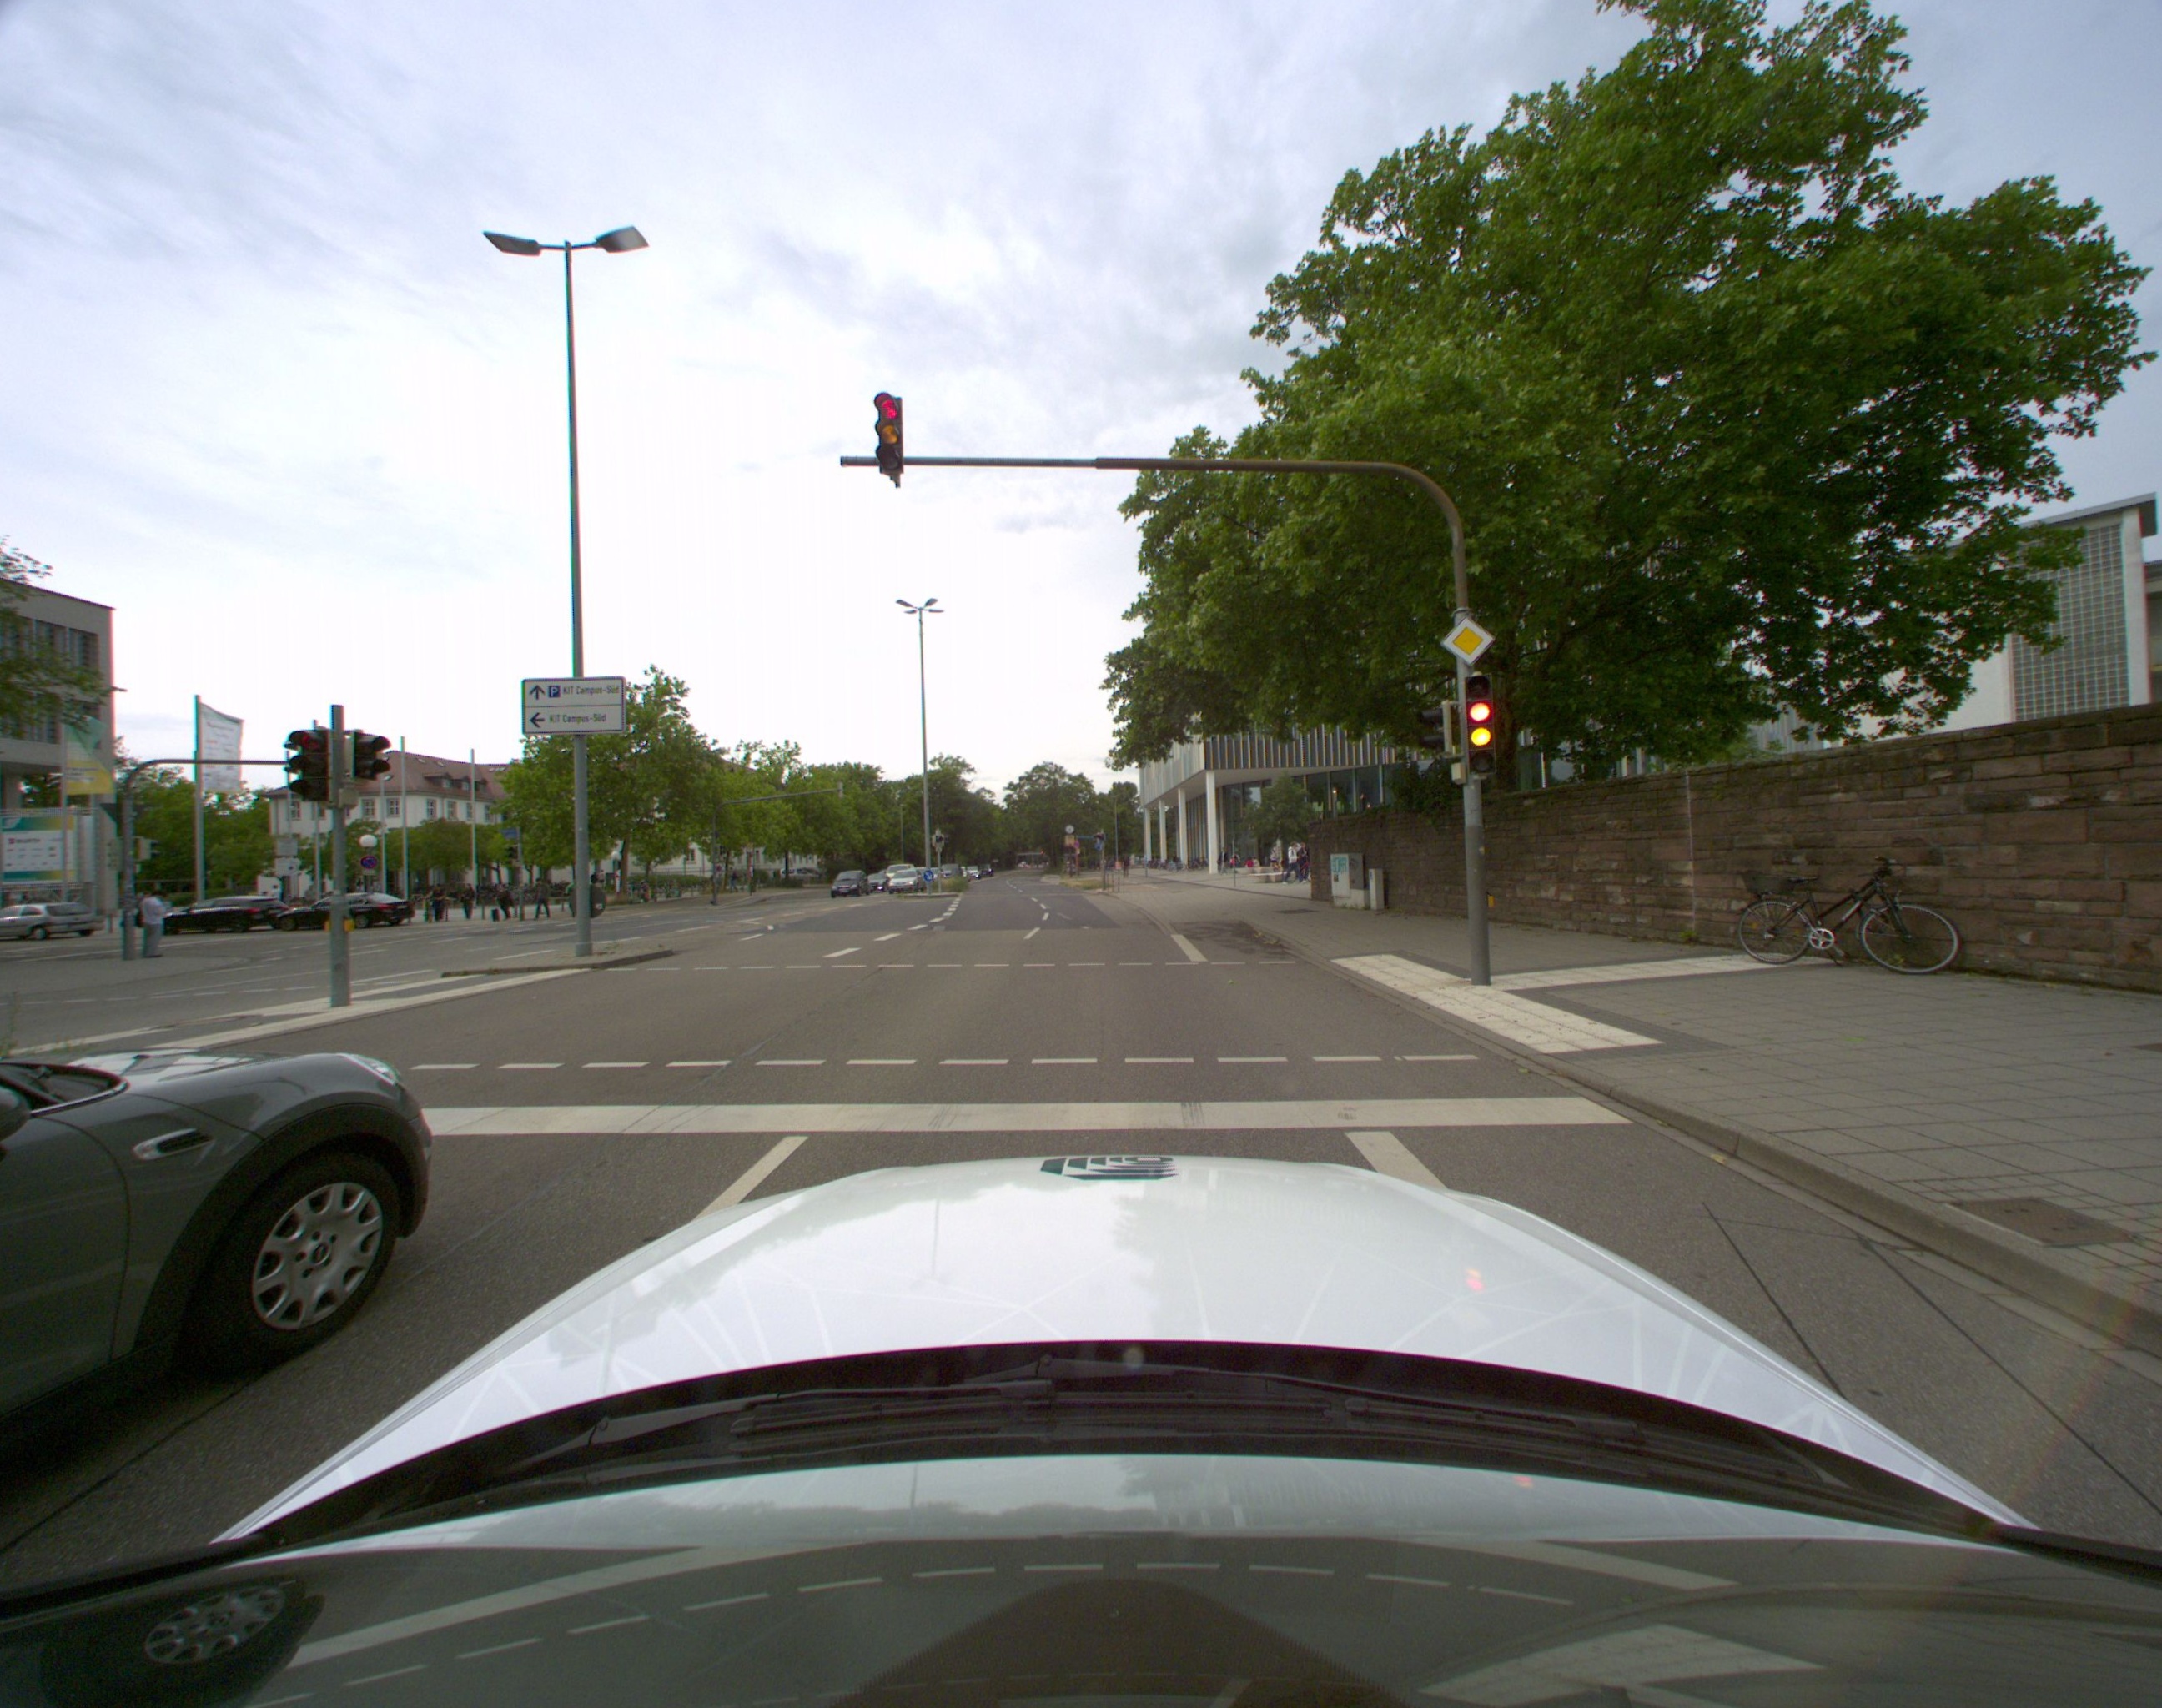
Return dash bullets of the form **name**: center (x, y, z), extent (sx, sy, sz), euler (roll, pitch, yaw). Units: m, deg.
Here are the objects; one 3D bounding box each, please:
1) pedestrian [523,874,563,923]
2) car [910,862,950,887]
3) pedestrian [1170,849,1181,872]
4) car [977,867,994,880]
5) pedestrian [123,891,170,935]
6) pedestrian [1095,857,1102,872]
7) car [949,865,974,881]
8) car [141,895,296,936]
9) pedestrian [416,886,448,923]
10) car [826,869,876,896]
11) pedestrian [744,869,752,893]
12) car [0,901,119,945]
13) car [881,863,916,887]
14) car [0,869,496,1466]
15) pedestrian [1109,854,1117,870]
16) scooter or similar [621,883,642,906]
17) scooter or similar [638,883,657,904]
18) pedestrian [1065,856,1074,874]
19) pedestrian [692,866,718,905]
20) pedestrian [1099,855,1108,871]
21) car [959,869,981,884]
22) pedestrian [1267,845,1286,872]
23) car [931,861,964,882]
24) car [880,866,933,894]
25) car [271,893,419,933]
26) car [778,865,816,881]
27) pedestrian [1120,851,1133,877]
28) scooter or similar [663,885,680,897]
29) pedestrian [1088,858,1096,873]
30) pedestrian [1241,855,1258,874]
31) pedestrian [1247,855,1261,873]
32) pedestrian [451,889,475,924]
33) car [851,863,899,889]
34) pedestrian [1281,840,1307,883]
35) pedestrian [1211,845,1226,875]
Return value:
- **pedestrian**: center (-22.742, 1.859, 34.430), extent (1.185, 2.014, 1.134), euler (0, -1, -22)
- **car**: center (-10.905, 1.454, 59.102), extent (1.951, 1.584, 4.256), euler (-4, 0, 1)
- **pedestrian**: center (8.459, 0.578, 72.982), extent (0.886, 2.014, 0.847), euler (-2, -1, 7)
- **car**: center (-12.723, 2.563, 108.641), extent (1.898, 1.593, 4.512), euler (-3, -1, -2)
- **pedestrian**: center (-44.546, 2.804, 38.830), extent (1.000, 2.014, 1.016), euler (-2, -1, -3)
- **pedestrian**: center (2.376, 1.507, 112.498), extent (0.823, 2.014, 0.718), euler (-2, -1, -7)
- **car**: center (-11.534, 1.769, 78.825), extent (1.899, 1.465, 4.906), euler (0, 0, -2)
- **car**: center (-35.146, 2.490, 33.303), extent (3.982, 1.472, 1.996), euler (0, -1, -6)
- **pedestrian**: center (-28.136, 2.181, 35.317), extent (0.825, 1.513, 0.968), euler (0, -1, -22)
- **car**: center (-13.937, 1.731, 49.629), extent (1.845, 1.463, 3.698), euler (-2, 0, 1)
- **pedestrian**: center (-24.214, 1.933, 59.254), extent (0.419, 1.739, 0.433), euler (0, -1, -9)
- **car**: center (-42.134, 2.774, 32.872), extent (3.979, 1.580, 1.997), euler (0, -1, -4)
- **car**: center (-14.541, 1.670, 65.107), extent (1.766, 1.848, 4.487), euler (0, -1, 0)
- **car**: center (-3.260, 0.742, 1.460), extent (1.615, 1.318, 3.707), euler (-2, 0, 2)
- **pedestrian**: center (4.075, 1.068, 103.957), extent (0.923, 2.014, 1.038), euler (-2, -1, -3)
- **scooter or similar**: center (-23.838, 2.152, 43.227), extent (0.359, 1.140, 1.318), euler (-3, -1, -2)
- **scooter or similar**: center (-23.865, 2.166, 44.848), extent (0.359, 1.140, 1.318), euler (-3, -1, -2)
- **pedestrian**: center (-1.344, 1.303, 94.971), extent (0.910, 2.013, 0.853), euler (-4, 1, -3)
- **pedestrian**: center (-20.029, 1.684, 43.393), extent (0.892, 2.014, 1.008), euler (-2, -1, -4)
- **pedestrian**: center (2.823, 1.102, 103.987), extent (0.924, 2.014, 1.037), euler (-2, -1, -7)
- **car**: center (-12.428, 2.522, 91.375), extent (1.989, 1.547, 4.176), euler (-4, -1, -2)
- **pedestrian**: center (13.477, 0.322, 56.170), extent (0.849, 1.836, 0.884), euler (-2, -1, -38)
- **car**: center (-11.716, 1.507, 71.781), extent (1.986, 1.687, 4.948), euler (-1, 0, 1)
- **car**: center (-10.795, 1.576, 50.632), extent (1.984, 1.529, 4.279), euler (-2, 0, 4)
- **car**: center (-30.367, 2.424, 33.714), extent (4.136, 1.472, 1.996), euler (0, -1, -6)
- **car**: center (-30.332, 2.000, 87.022), extent (3.579, 1.602, 1.649), euler (0, -1, -5)
- **pedestrian**: center (3.701, 0.830, 66.552), extent (0.840, 2.013, 0.894), euler (-4, -1, -1)
- **scooter or similar**: center (-25.473, 2.316, 50.687), extent (0.405, 0.693, 1.289), euler (0, -1, 1)
- **pedestrian**: center (1.472, 1.652, 112.807), extent (0.924, 2.014, 1.037), euler (-2, -1, -7)
- **pedestrian**: center (11.168, 0.677, 54.027), extent (0.834, 1.206, 0.900), euler (-3, -1, 32)
- **pedestrian**: center (11.595, 0.682, 54.644), extent (0.885, 1.193, 0.848), euler (-2, -1, 12)
- **pedestrian**: center (-26.935, 2.275, 35.514), extent (0.702, 1.428, 0.991), euler (0, -1, -30)
- **car**: center (-14.084, 1.486, 55.879), extent (1.984, 1.619, 4.005), euler (-2, 0, 4)
- **pedestrian**: center (9.186, 0.332, 35.119), extent (0.773, 1.795, 0.795), euler (-3, -1, 41)
- **pedestrian**: center (9.475, 0.431, 56.090), extent (0.840, 2.014, 0.894), euler (-2, -1, -1)
